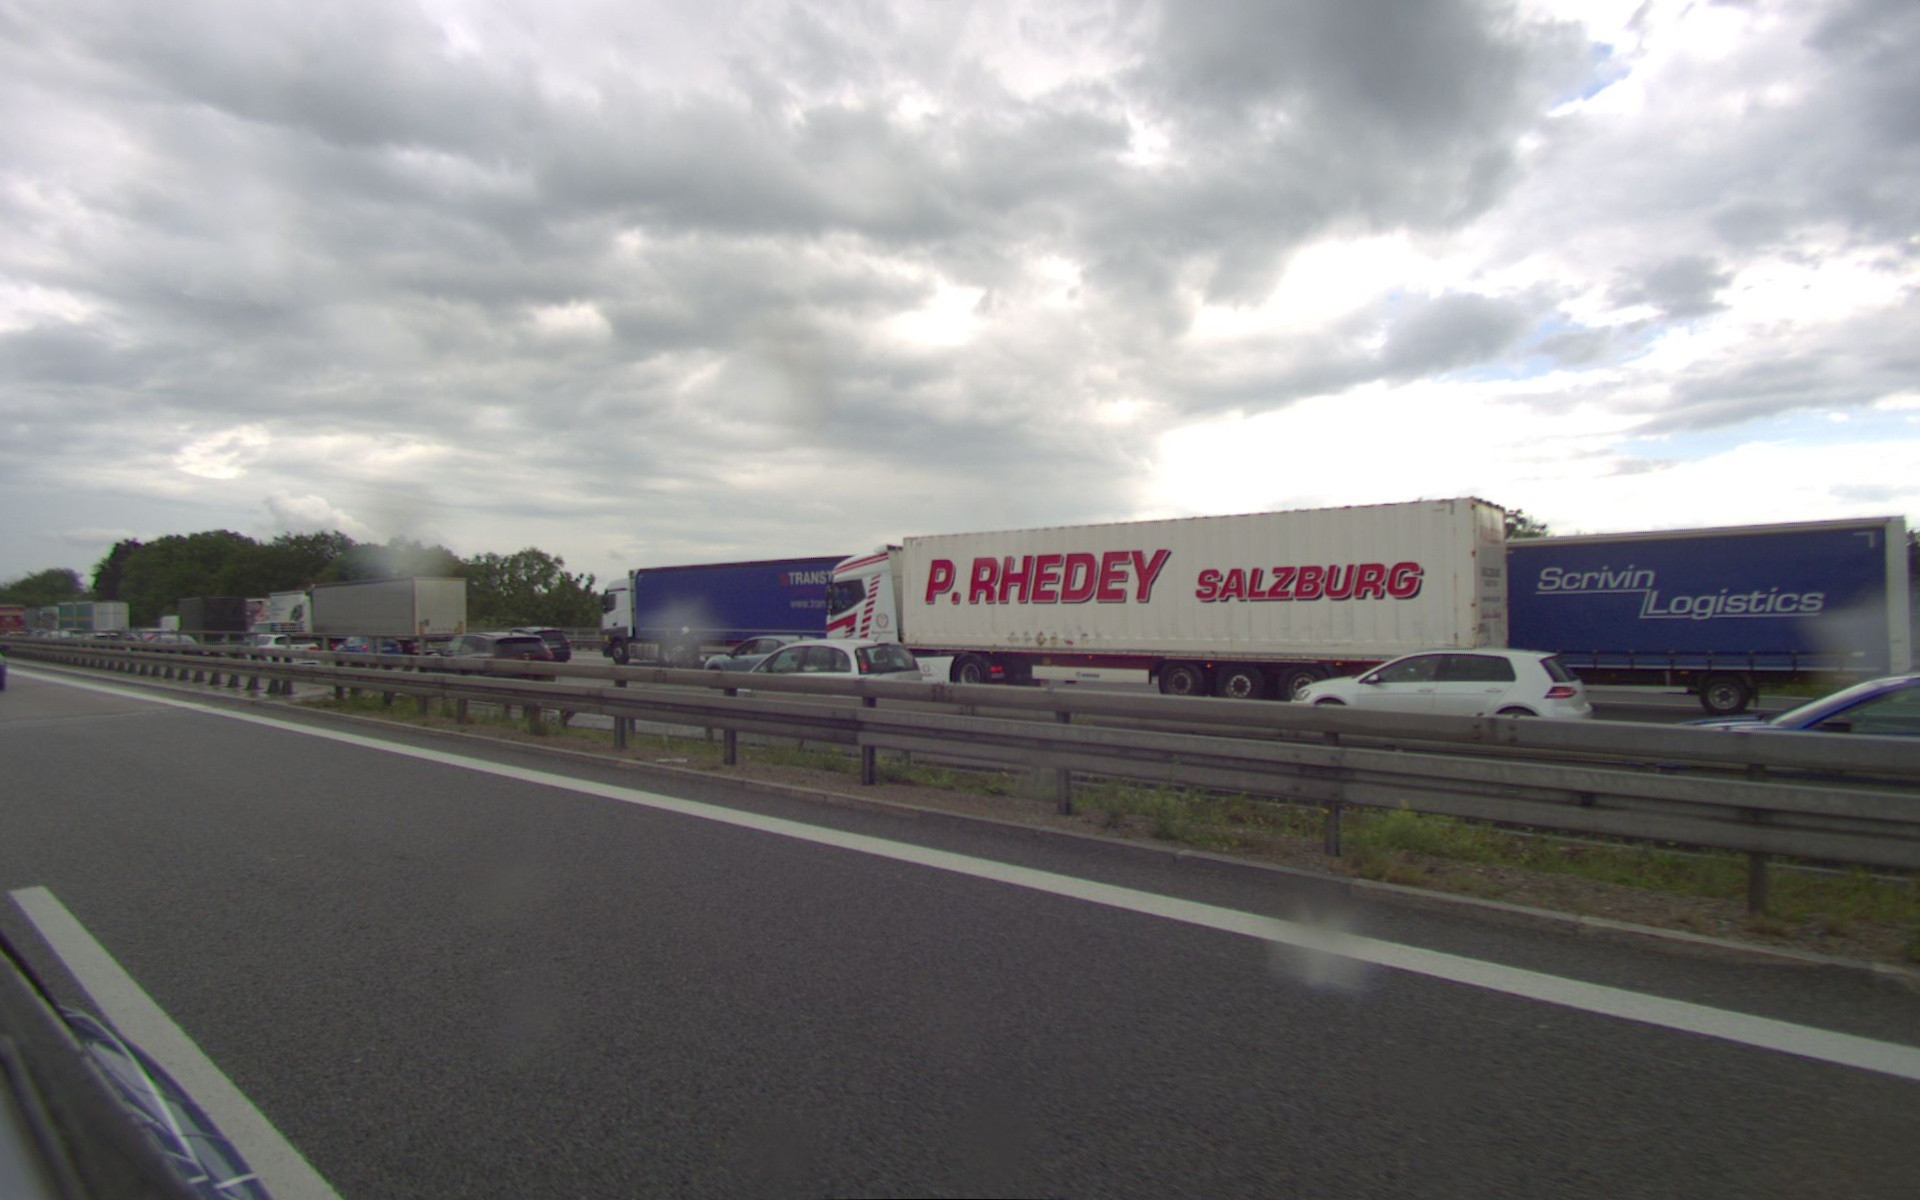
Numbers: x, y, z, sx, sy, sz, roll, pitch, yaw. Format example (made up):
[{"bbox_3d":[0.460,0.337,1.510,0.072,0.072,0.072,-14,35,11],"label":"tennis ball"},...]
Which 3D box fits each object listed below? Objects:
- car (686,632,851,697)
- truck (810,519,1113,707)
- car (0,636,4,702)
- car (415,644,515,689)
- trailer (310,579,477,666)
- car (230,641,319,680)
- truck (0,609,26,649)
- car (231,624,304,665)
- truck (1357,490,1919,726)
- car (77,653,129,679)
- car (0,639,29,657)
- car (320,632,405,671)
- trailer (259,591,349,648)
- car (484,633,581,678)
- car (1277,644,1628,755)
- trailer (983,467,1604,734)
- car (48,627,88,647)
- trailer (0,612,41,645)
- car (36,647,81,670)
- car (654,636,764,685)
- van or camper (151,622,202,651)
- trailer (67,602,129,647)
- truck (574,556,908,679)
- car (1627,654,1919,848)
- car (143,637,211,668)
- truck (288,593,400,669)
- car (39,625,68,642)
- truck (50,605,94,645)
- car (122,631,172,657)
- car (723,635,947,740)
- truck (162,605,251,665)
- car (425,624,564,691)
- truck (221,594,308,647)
[{"bbox_3d":[-4.988,1.583,25.917,4.674,1.514,1.628,-2,-2,41],"label":"car"},{"bbox_3d":[-0.165,0.409,26.426,7.731,4.226,3.145,-2,-2,40],"label":"truck"},{"bbox_3d":[-22.964,1.530,22.707,5.014,1.418,1.758,-2,-2,41],"label":"car"},{"bbox_3d":[-18.556,2.444,37.826,4.857,1.522,1.628,-2,-2,41],"label":"car"},{"bbox_3d":[-29.213,1.152,51.720,13.008,3.963,3.210,-1,-1,41],"label":"trailer"},{"bbox_3d":[-26.532,2.306,39.091,4.623,1.364,1.702,-2,-2,41],"label":"car"},{"bbox_3d":[-106.563,3.211,112.134,12.513,4.180,2.953,-1,-2,40],"label":"truck"},{"bbox_3d":[-36.933,2.328,53.882,5.672,2.068,1.802,-1,-2,41],"label":"car"},{"bbox_3d":[13.885,0.245,20.156,10.751,3.870,2.868,-2,-2,41],"label":"truck"},{"bbox_3d":[-49.817,3.811,58.809,3.998,1.364,1.702,-2,-2,41],"label":"car"},{"bbox_3d":[-79.126,3.989,84.483,4.381,1.364,1.556,-2,-2,41],"label":"car"},{"bbox_3d":[-26.526,2.235,44.864,4.695,1.636,1.802,-1,-2,41],"label":"car"},{"bbox_3d":[-48.138,1.429,74.130,8.845,3.989,3.186,-1,-1,41],"label":"trailer"},{"bbox_3d":[-18.020,2.297,42.569,4.572,1.761,1.947,-2,-2,41],"label":"car"},{"bbox_3d":[7.364,1.403,15.448,4.541,1.418,1.628,-2,-2,41],"label":"car"},{"bbox_3d":[6.116,0.177,21.083,11.947,4.226,3.154,-2,-2,40],"label":"trailer"},{"bbox_3d":[-76.109,3.111,86.319,4.774,1.637,1.747,-1,-2,38],"label":"car"},{"bbox_3d":[-121.489,3.679,130.550,13.022,4.177,2.850,-1,-2,41],"label":"trailer"},{"bbox_3d":[-64.209,4.142,72.033,5.499,1.514,1.702,-2,-2,41],"label":"car"},{"bbox_3d":[-8.526,1.999,34.256,3.998,1.557,1.628,-2,-2,41],"label":"car"},{"bbox_3d":[-72.756,3.335,93.880,7.357,2.598,2.221,-1,-2,40],"label":"van or camper"},{"bbox_3d":[-83.453,2.355,97.871,11.594,4.092,2.789,-1,-1,41],"label":"trailer"},{"bbox_3d":[-9.420,0.810,39.949,17.732,4.052,2.621,-2,-2,40],"label":"truck"},{"bbox_3d":[8.423,1.233,8.320,4.727,1.451,1.628,-2,-2,41],"label":"car"},{"bbox_3d":[-37.681,2.497,48.681,4.532,1.364,1.702,-2,-2,41],"label":"car"},{"bbox_3d":[-34.213,1.670,56.078,7.569,3.963,3.166,-1,-1,41],"label":"truck"},{"bbox_3d":[-100.954,3.704,112.693,3.999,1.844,1.972,-1,-1,42],"label":"car"},{"bbox_3d":[-92.765,2.598,105.693,4.960,4.060,2.816,-1,-1,40],"label":"truck"},{"bbox_3d":[-54.723,2.931,68.104,5.052,1.713,1.702,-2,-2,41],"label":"car"},{"bbox_3d":[-2.298,1.458,18.021,3.998,1.631,1.773,-2,-2,41],"label":"car"},{"bbox_3d":[-45.736,2.093,61.331,8.535,3.425,2.493,-2,-2,41],"label":"truck"},{"bbox_3d":[-12.376,1.465,26.814,4.281,1.631,1.773,-2,-2,41],"label":"car"},{"bbox_3d":[-55.331,1.609,80.389,10.275,3.939,3.192,-1,-1,41],"label":"truck"}]
